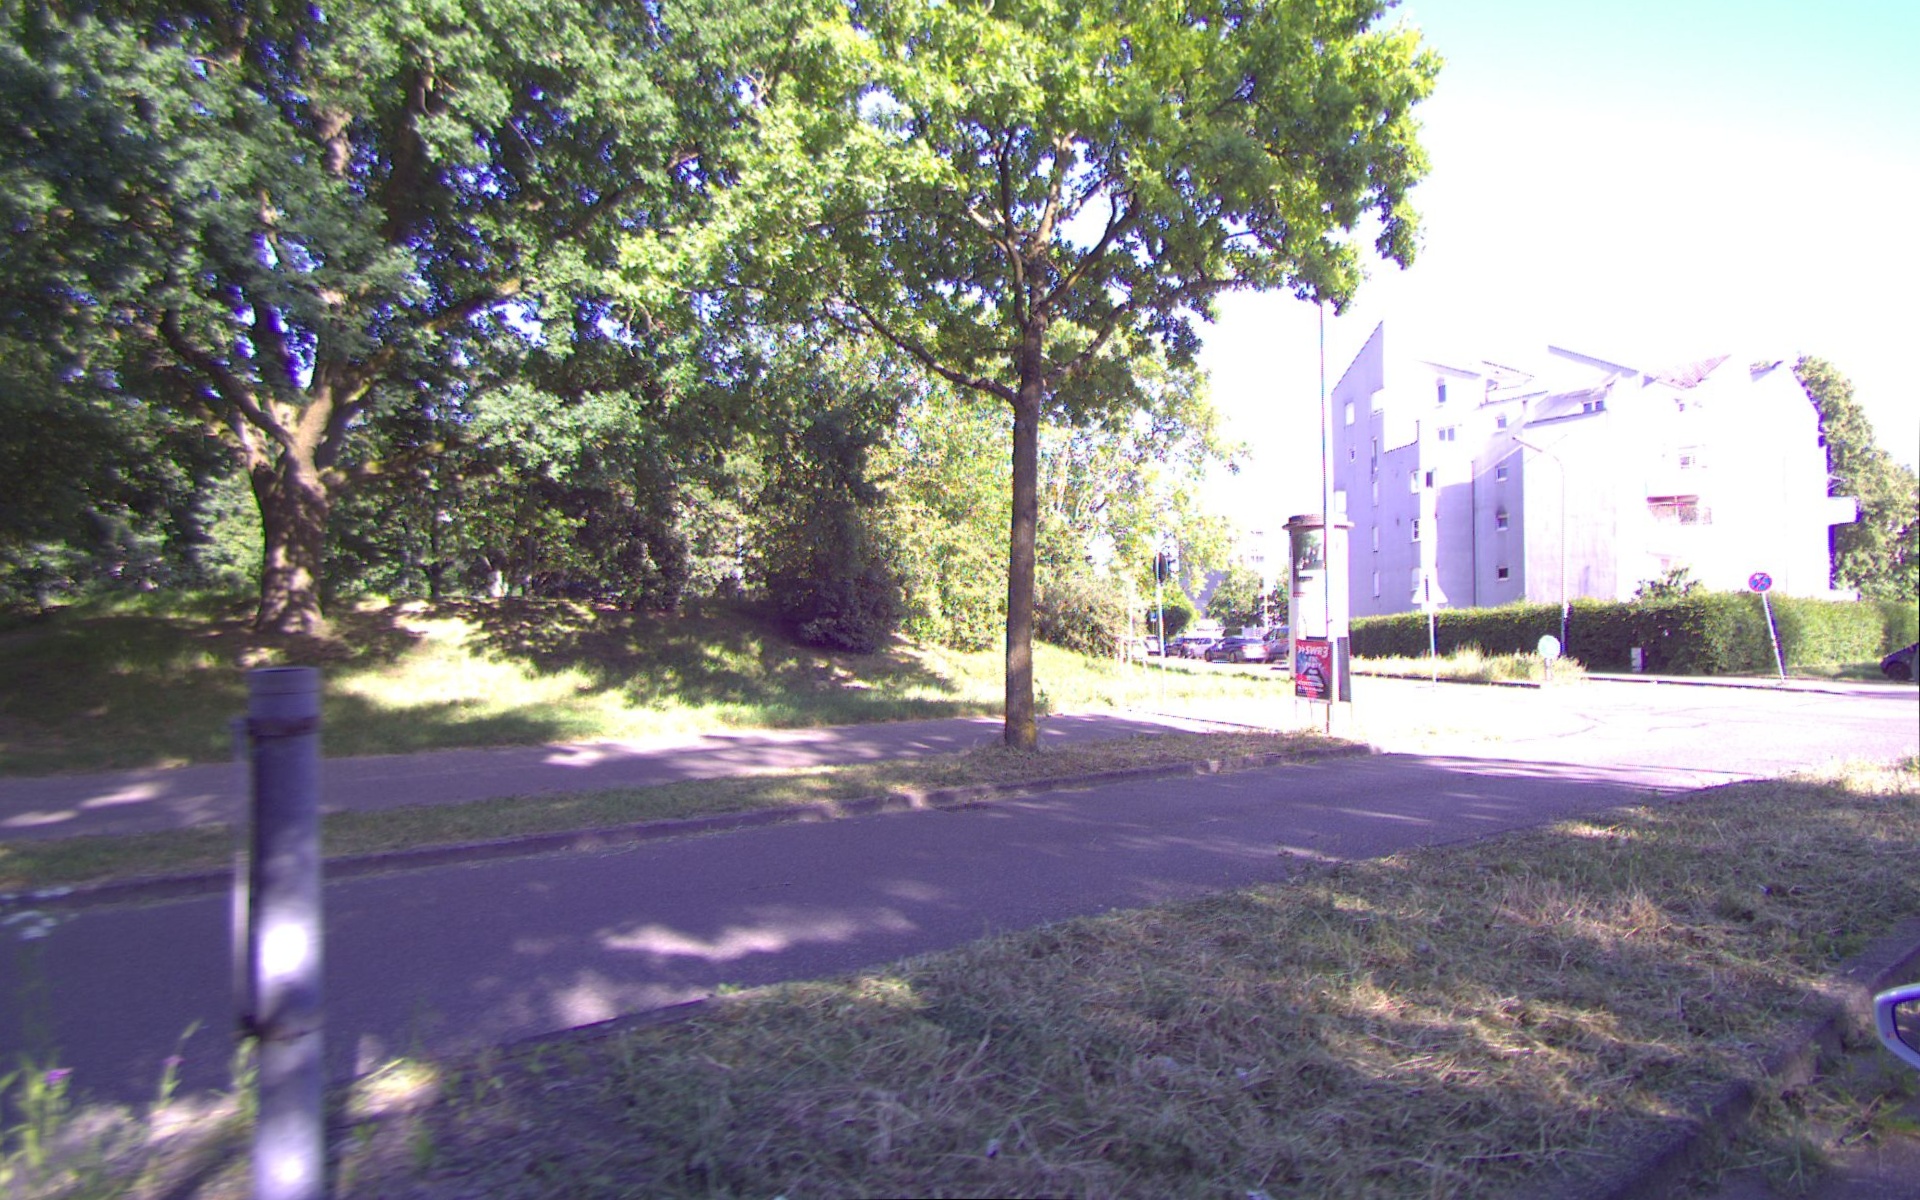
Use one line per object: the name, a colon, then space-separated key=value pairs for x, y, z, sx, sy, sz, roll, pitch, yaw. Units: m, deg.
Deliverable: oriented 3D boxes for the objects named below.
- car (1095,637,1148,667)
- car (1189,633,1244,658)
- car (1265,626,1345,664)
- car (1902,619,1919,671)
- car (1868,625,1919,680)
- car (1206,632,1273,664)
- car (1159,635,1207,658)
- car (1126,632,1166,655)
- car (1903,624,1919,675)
car: x=8.602 y=2.738 z=53.635 sx=1.603 sy=1.547 sz=3.411 roll=0 pitch=-2 yaw=-13
car: x=16.106 y=2.884 z=63.356 sx=1.880 sy=1.508 sz=4.371 roll=0 pitch=-2 yaw=-7
car: x=18.228 y=2.376 z=53.322 sx=1.964 sy=1.937 sz=4.947 roll=0 pitch=-2 yaw=-9
car: x=32.702 y=1.342 z=31.002 sx=1.761 sy=1.676 sz=4.975 roll=0 pitch=-3 yaw=-27
car: x=27.451 y=1.432 z=27.465 sx=1.675 sy=1.486 sz=3.523 roll=-1 pitch=-1 yaw=-16
car: x=14.788 y=2.545 z=53.459 sx=1.850 sy=1.664 sz=4.069 roll=0 pitch=-2 yaw=-10
car: x=15.266 y=3.197 z=68.959 sx=1.880 sy=1.508 sz=4.371 roll=0 pitch=-2 yaw=-7
car: x=14.422 y=3.372 z=78.109 sx=1.880 sy=1.688 sz=4.371 roll=0 pitch=-2 yaw=-7
car: x=29.646 y=1.399 z=28.638 sx=1.626 sy=1.516 sz=3.677 roll=0 pitch=-2 yaw=-19
